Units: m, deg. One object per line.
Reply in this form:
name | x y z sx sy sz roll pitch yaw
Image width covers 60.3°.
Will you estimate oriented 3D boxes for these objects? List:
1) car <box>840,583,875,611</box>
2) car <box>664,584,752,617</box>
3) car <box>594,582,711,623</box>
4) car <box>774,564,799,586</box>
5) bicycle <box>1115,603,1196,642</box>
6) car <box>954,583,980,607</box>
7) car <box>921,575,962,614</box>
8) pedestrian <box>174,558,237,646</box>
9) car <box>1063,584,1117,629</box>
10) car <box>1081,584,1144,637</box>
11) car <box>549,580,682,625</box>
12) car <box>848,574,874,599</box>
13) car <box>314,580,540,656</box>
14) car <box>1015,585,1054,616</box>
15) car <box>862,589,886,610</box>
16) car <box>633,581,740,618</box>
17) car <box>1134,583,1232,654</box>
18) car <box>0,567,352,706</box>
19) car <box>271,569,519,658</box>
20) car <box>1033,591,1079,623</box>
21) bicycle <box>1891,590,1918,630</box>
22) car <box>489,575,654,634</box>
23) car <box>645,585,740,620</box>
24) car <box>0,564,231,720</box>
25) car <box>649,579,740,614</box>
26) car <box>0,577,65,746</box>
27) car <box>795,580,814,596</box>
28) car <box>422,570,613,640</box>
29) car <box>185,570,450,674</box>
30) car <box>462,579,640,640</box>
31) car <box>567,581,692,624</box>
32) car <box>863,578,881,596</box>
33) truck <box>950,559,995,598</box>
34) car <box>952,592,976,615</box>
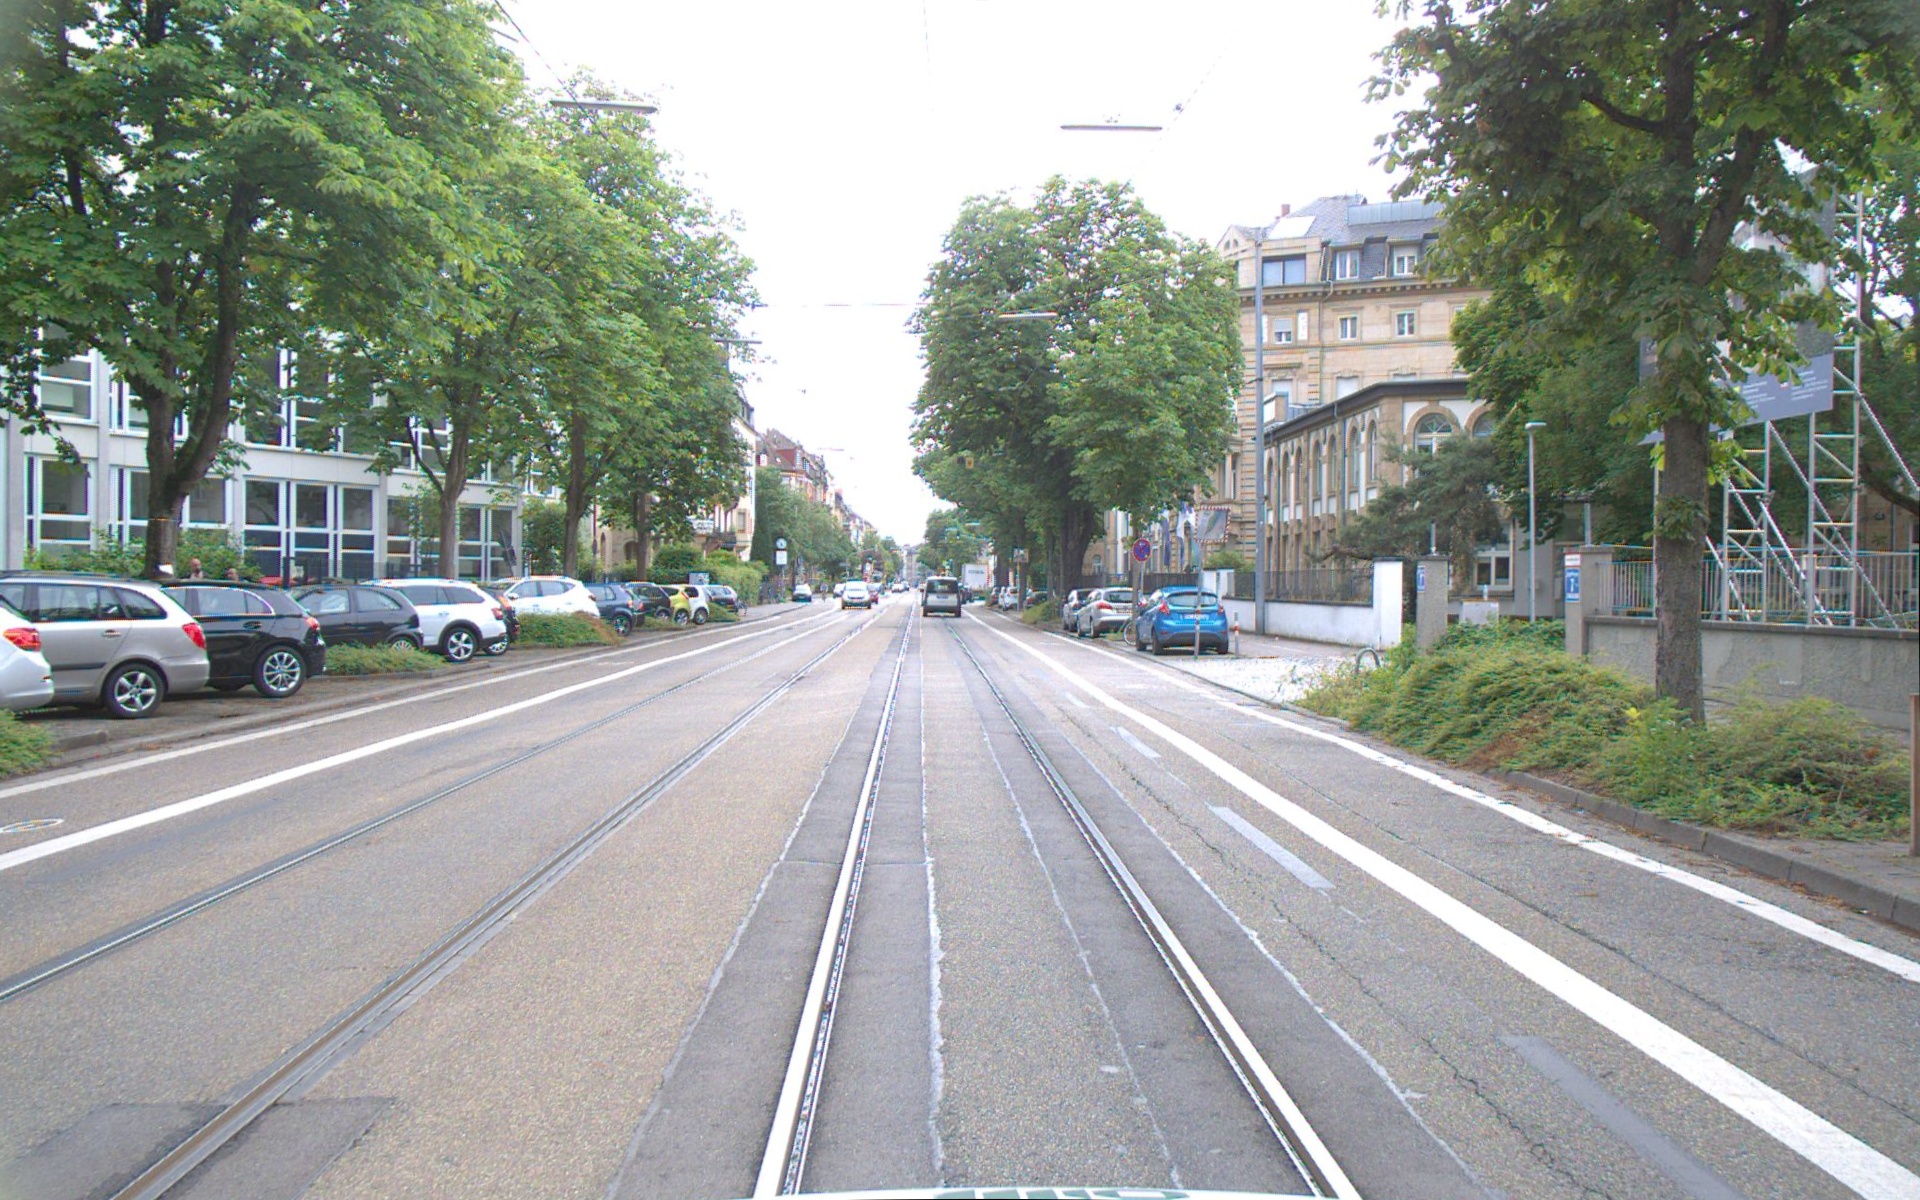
car | -6.019 -0.188 97.336 1.861 1.557 3.754 -1 1 -1
car | -11.628 0.026 76.355 3.661 1.410 1.686 1 0 -26
car | -11.041 0.099 59.566 1.670 1.375 3.942 2 1 43
car | -18.055 -2.566 172.139 2.133 2.246 4.218 0 1 -1
bicycle | 4.965 0.577 42.046 1.973 0.973 0.533 0 1 -5
car | 0.510 -0.369 128.055 1.953 1.825 4.000 0 1 0
car | -0.839 -0.261 77.659 1.774 1.738 3.699 1 0 1
pedestrian | -14.454 0.037 31.693 0.737 1.640 0.734 2 -1 22
car | 4.390 0.200 56.345 1.446 1.453 3.564 1 1 -2
car | 4.509 0.287 49.255 1.446 1.506 3.564 1 1 -2
car | -11.056 0.098 53.223 1.670 1.375 3.942 2 1 43
car | -10.023 -1.372 167.540 2.159 2.459 4.001 0 1 2
car | -10.677 0.365 33.272 3.990 1.430 1.676 1 1 -40
car | 3.523 0.010 79.039 1.754 1.423 3.795 0 1 1
car | -6.334 -0.024 122.269 1.642 1.549 2.781 1 0 -1
car | -10.695 -0.012 64.748 1.670 1.375 3.942 2 1 43
car | 4.988 0.385 37.329 1.640 1.486 3.431 1 1 -2
car | -9.686 0.419 20.495 1.671 1.550 3.680 2 1 44
car | -10.359 0.251 30.474 3.990 1.510 1.676 1 1 -40
car | 4.083 0.281 70.794 1.835 1.273 4.001 0 1 1
bicycle | 27.213 0.272 47.649 0.606 1.139 2.216 0 1 32
car | -10.910 0.146 46.631 1.670 1.562 4.318 2 1 43
car | -11.352 0.108 70.292 3.661 1.410 1.686 1 0 -26
car | -9.831 0.409 17.415 1.546 1.550 3.626 2 1 44
car | -11.744 -0.153 73.155 3.661 1.410 1.686 1 0 -26
car | -10.182 0.514 13.838 1.769 1.490 4.412 1 0 38
car | -13.788 -1.054 147.019 1.609 1.378 3.873 1 1 -5
car | -10.704 0.138 40.217 1.668 1.583 4.324 2 1 39
car | -10.464 0.345 27.082 1.671 1.550 3.680 2 1 44
car | -10.670 0.254 43.365 1.670 1.479 4.318 2 1 43
car | -11.247 0.095 56.430 1.670 1.375 3.942 2 1 43
car | -11.286 -1.632 211.443 2.160 2.295 3.999 0 1 -1
truck | 1.251 -2.304 179.469 3.735 4.100 10.204 0 1 -6
car | 0.307 0.312 149.547 1.954 2.049 3.998 0 1 -3
